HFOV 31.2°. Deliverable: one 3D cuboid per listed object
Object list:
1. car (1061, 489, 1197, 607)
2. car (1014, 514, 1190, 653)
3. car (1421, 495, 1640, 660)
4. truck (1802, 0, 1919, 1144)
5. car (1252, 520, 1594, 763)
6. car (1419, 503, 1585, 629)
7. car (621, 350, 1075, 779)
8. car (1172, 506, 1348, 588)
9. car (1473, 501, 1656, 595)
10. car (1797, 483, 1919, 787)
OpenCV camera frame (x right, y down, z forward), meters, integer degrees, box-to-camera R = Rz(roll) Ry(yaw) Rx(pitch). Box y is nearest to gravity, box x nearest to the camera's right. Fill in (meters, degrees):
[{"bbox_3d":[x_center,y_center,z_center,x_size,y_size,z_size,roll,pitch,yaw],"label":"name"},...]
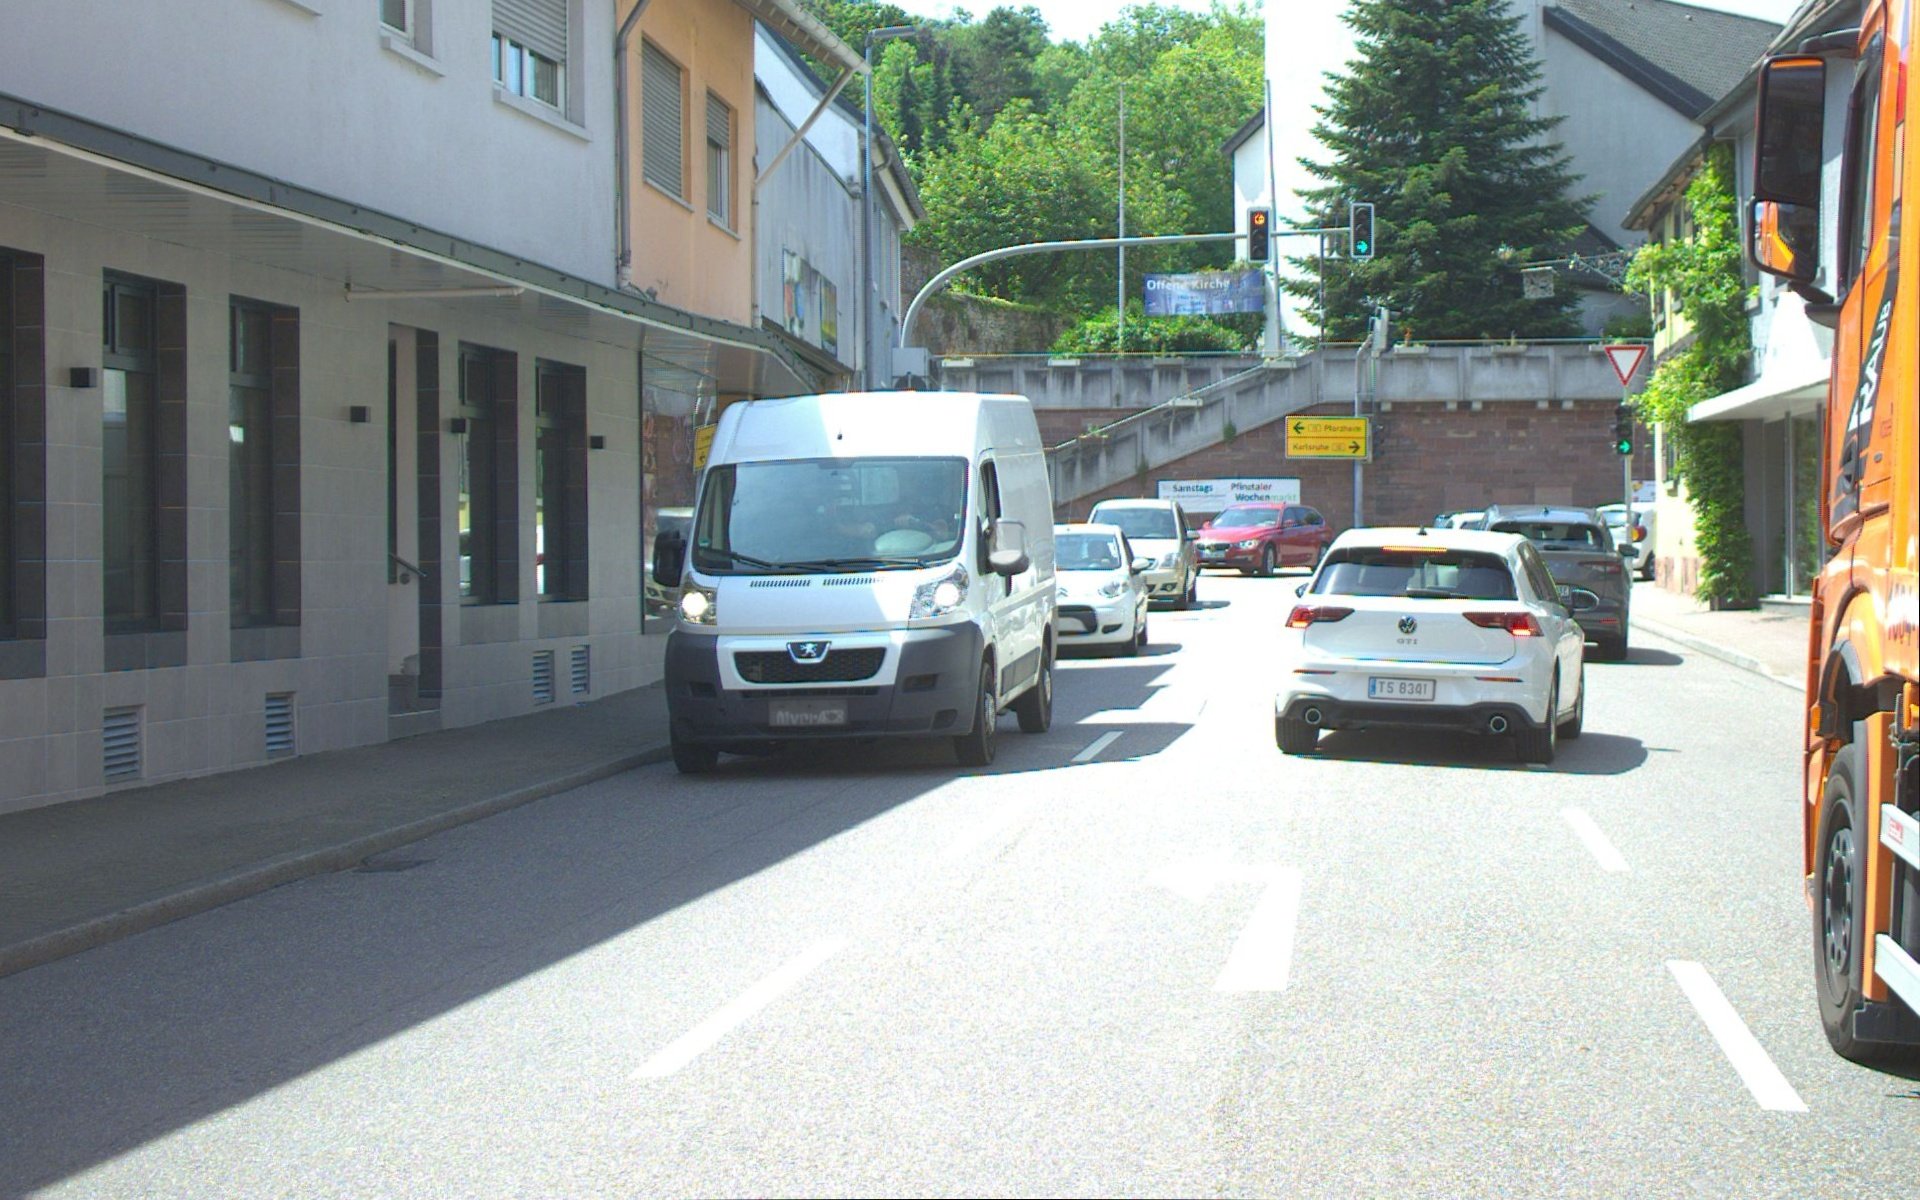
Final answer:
[{"bbox_3d":[2.571,-0.815,51.664,1.679,1.611,3.820,-2,2,7],"label":"car"},{"bbox_3d":[1.646,-0.214,38.946,1.597,1.450,3.446,-2,1,8],"label":"car"},{"bbox_3d":[6.185,-0.299,37.703,1.949,1.577,4.326,0,3,4],"label":"car"},{"bbox_3d":[3.355,-0.598,6.293,2.609,3.932,9.989,0,1,9],"label":"truck"},{"bbox_3d":[3.142,0.201,22.739,1.784,1.453,3.860,0,1,15],"label":"car"},{"bbox_3d":[7.648,-0.527,48.866,1.949,1.577,4.326,0,3,4],"label":"car"},{"bbox_3d":[-0.600,-0.274,23.618,2.141,2.560,5.392,-2,1,8],"label":"car"},{"bbox_3d":[5.959,-1.068,67.921,1.720,1.404,4.278,-1,2,31],"label":"car"},{"bbox_3d":[11.415,-1.012,64.711,1.953,1.577,4.319,2,4,31],"label":"car"},{"bbox_3d":[6.399,0.125,21.293,1.994,1.703,4.099,-2,1,9],"label":"car"}]
